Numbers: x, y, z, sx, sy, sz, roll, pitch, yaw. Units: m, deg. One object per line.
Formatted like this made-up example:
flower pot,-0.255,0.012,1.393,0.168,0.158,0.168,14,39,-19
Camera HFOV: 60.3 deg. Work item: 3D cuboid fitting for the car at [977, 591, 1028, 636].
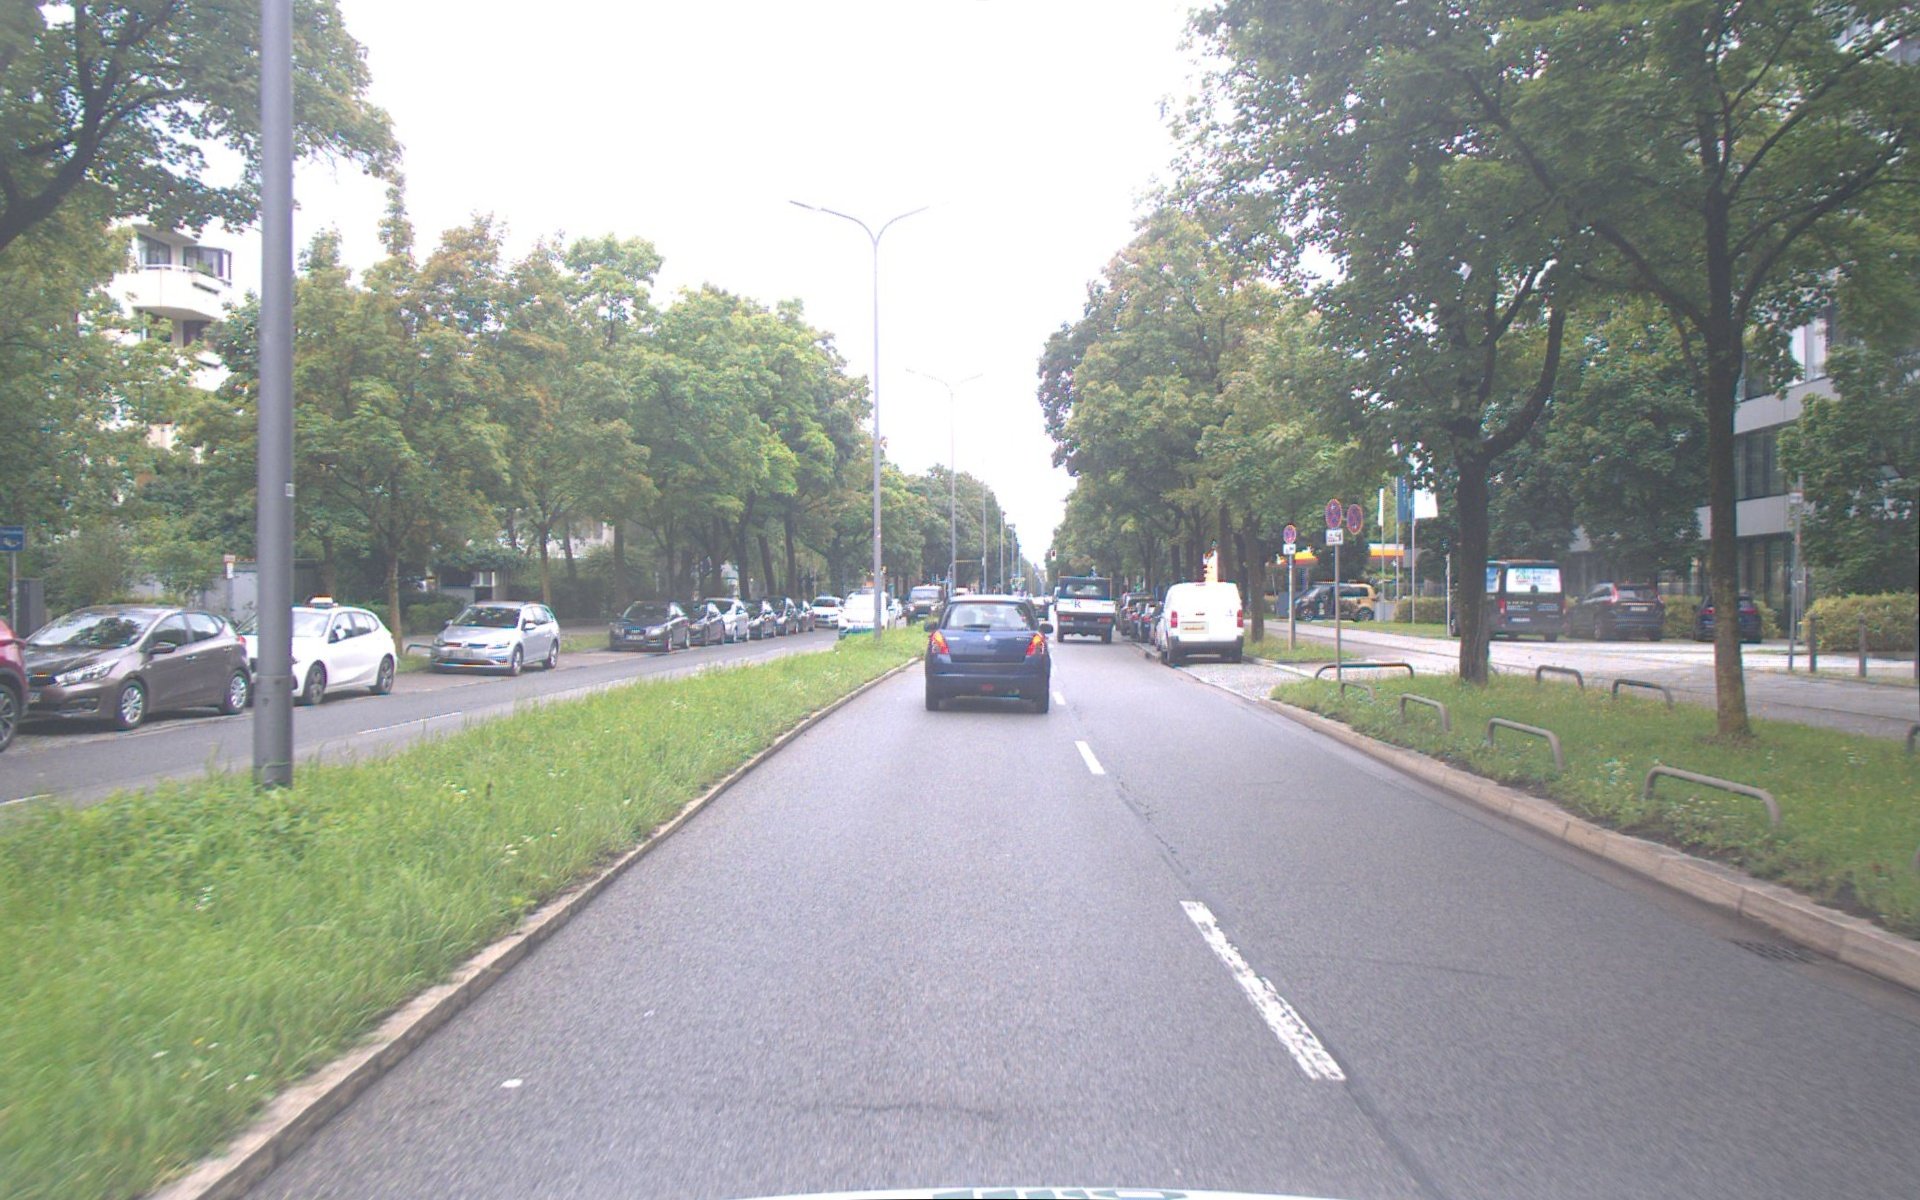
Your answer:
car,1.523,0.458,58.995,1.762,1.525,3.661,-1,0,2

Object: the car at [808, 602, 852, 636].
car,-6.767,0.966,86.464,1.720,1.622,4.490,2,0,2

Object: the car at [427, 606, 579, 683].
car,-9.816,0.903,35.892,1.700,1.473,4.824,2,0,3

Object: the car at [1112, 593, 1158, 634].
car,8.194,0.610,77.556,1.853,1.831,4.863,-1,0,3

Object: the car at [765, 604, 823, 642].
car,-7.446,1.010,74.629,1.723,1.540,4.950,2,0,4

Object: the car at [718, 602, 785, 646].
car,-8.069,0.905,64.299,1.680,1.551,5.036,3,0,3

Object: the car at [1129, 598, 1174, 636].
car,7.625,0.655,66.129,1.665,1.433,4.515,-1,0,6

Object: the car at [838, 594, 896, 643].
car,-4.523,0.869,81.362,2.163,2.232,5.801,-2,0,3

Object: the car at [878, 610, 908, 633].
car,-4.641,1.492,115.355,1.639,1.501,4.217,3,0,3

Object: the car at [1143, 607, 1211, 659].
car,6.343,0.952,48.709,1.666,1.422,4.234,-1,0,3

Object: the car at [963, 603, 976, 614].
car,1.349,1.192,228.803,1.602,1.467,3.736,-1,0,3

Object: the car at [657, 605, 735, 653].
car,-8.652,0.918,54.531,1.591,1.448,4.194,3,0,4

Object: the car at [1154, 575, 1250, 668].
car,6.124,0.513,42.375,1.945,2.195,5.558,-1,0,3

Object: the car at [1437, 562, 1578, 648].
car,16.137,0.134,49.156,2.218,2.347,6.269,-1,0,1

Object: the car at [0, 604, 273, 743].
car,-10.625,0.837,21.046,1.702,1.508,4.335,2,0,3

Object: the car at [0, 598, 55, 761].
car,-10.889,0.819,15.903,1.703,1.680,4.607,2,0,1

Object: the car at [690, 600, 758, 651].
car,-8.390,0.871,59.094,1.591,1.676,3.869,3,0,4

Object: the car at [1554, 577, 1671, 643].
car,19.464,0.284,49.566,1.804,1.850,4.472,-1,0,1

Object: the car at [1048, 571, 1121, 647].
car,4.356,0.301,57.685,2.368,2.487,5.089,1,0,5

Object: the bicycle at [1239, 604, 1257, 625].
bicycle,16.657,0.816,95.756,0.733,1.203,2.247,0,0,3

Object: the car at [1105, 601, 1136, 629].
car,9.363,0.875,96.663,1.742,1.537,4.287,-2,0,5

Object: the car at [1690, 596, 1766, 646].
car,22.541,0.587,48.676,1.746,1.398,3.965,0,0,21

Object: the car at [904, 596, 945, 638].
car,-1.814,0.867,85.461,1.743,2.065,4.820,-1,0,3

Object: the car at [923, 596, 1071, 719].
car,0.474,0.730,22.768,1.857,1.525,3.660,1,0,0

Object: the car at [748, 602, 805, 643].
car,-7.715,0.925,69.882,1.650,1.625,4.212,2,0,4

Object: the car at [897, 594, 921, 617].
car,-4.109,0.441,133.652,1.759,1.794,5.057,-1,0,-1

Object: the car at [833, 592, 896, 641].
car,-3.393,0.571,59.642,1.796,1.671,4.352,-1,0,3

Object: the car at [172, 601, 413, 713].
car,-10.302,0.811,25.914,1.702,1.556,4.477,1,0,3

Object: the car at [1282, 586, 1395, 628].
car,19.476,0.361,85.230,5.356,2.120,2.147,0,0,2

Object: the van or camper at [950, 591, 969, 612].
van or camper,-0.044,0.186,208.285,2.095,2.519,6.261,-1,0,3

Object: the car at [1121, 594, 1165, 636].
car,7.872,0.621,71.320,1.774,1.705,4.802,-1,0,5

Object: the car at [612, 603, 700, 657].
car,-8.925,0.857,48.849,1.547,1.448,4.364,3,0,2

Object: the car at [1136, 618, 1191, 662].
car,7.228,1.384,59.016,1.666,1.446,4.123,-1,0,3
